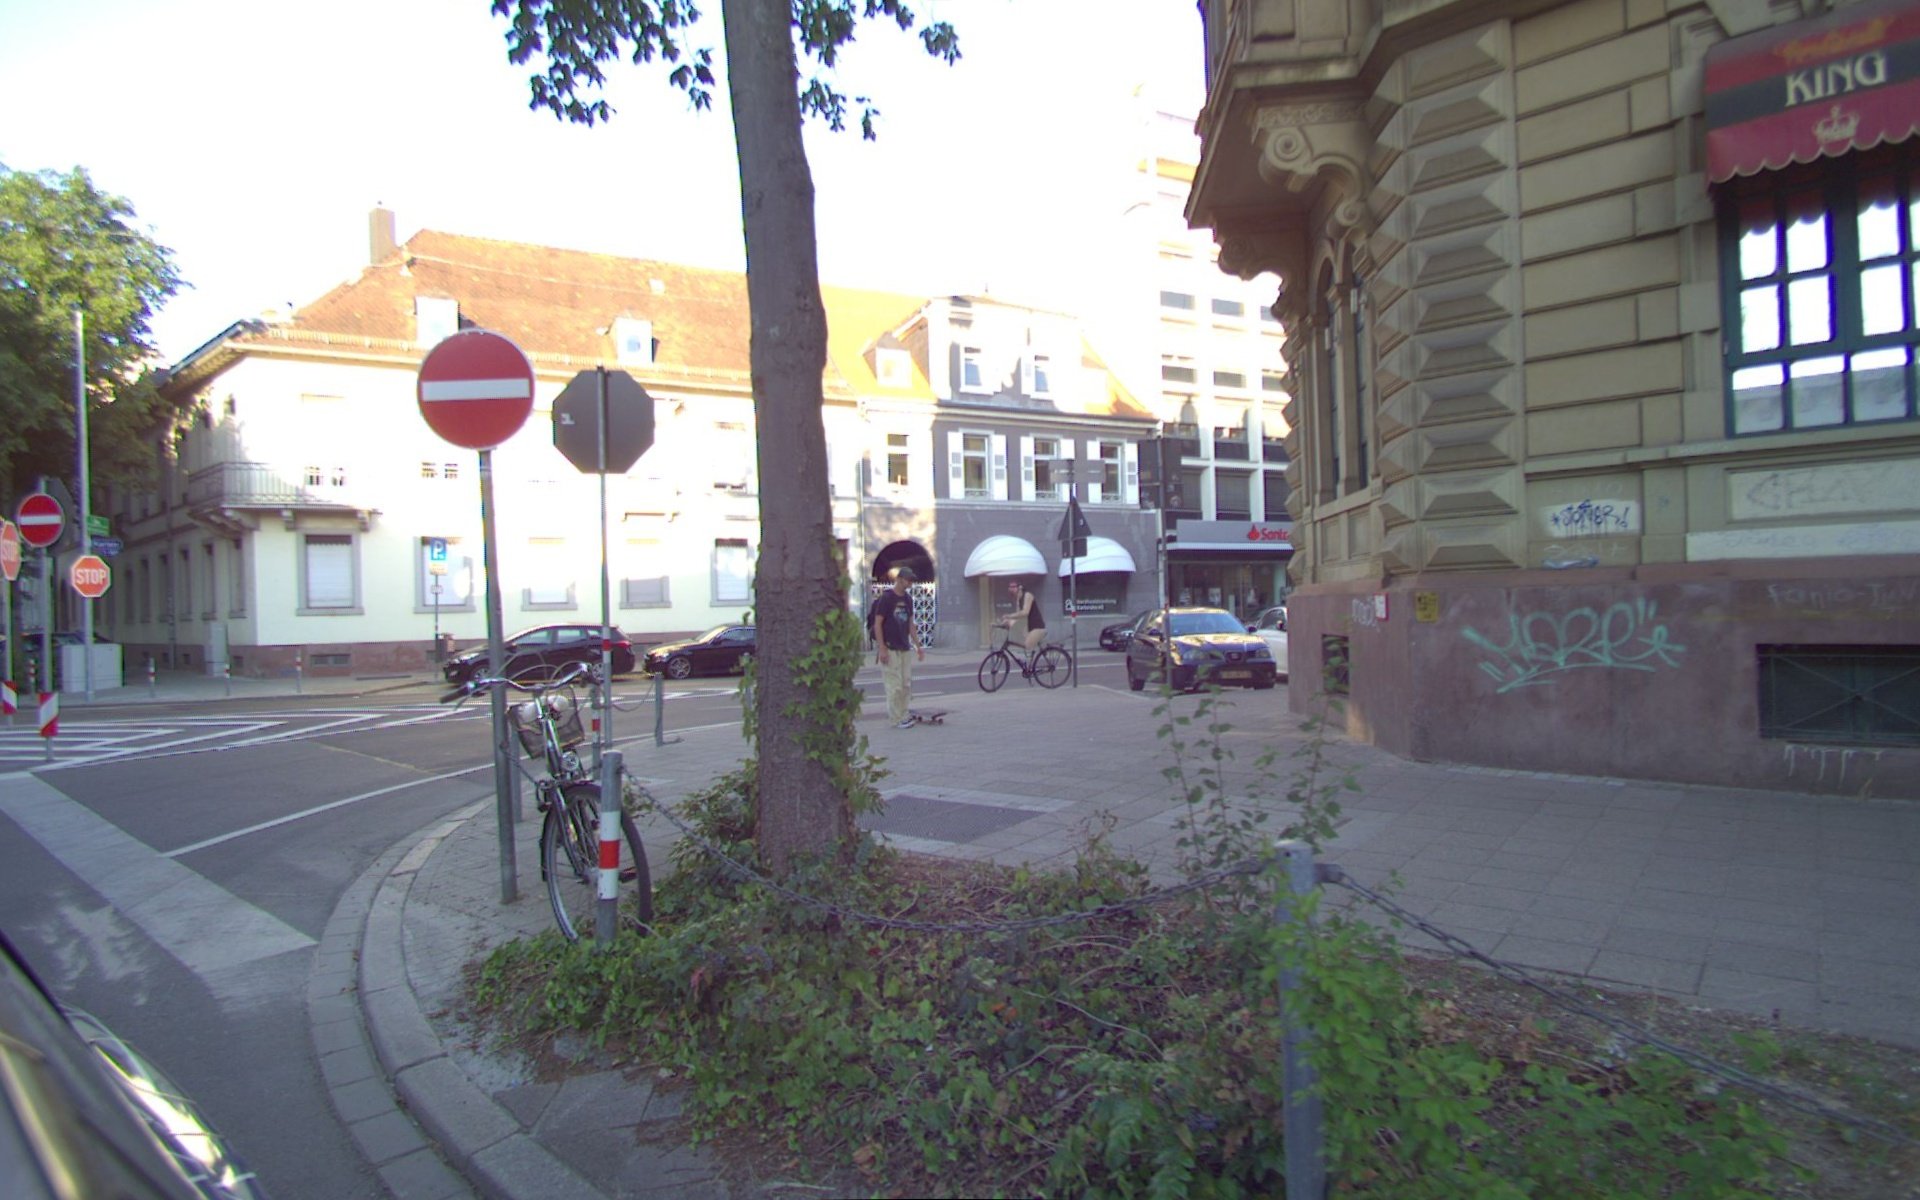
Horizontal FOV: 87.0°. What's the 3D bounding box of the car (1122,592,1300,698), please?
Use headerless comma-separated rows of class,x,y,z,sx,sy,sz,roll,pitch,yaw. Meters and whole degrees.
car,3.946,0.778,16.598,1.715,1.472,3.865,-2,-4,-3

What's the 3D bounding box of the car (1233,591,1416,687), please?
car,6.631,0.748,19.001,1.744,1.523,4.626,-2,-3,1

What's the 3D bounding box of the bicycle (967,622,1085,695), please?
bicycle,1.110,0.981,17.060,1.773,1.134,0.730,-2,-4,-18

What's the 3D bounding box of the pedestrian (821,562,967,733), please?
pedestrian,-0.718,0.519,11.052,1.260,1.752,0.843,-4,-2,27

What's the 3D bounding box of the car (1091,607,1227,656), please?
car,6.618,1.009,33.595,4.176,1.458,1.754,-1,-1,-27

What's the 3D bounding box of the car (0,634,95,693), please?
car,-28.480,1.905,30.098,1.721,1.627,3.948,-2,-1,39

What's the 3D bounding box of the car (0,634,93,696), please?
car,-26.911,1.843,28.190,1.721,1.627,3.948,-2,-1,39

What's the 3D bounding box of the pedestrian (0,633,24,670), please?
pedestrian,-47.118,2.570,50.221,1.020,1.784,0.883,-3,-2,40

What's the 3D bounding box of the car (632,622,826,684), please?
car,-6.179,1.386,27.184,4.773,1.405,1.784,-1,-2,-25

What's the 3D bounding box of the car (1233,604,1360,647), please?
car,12.237,0.922,36.724,4.423,1.398,1.753,-1,-1,-28

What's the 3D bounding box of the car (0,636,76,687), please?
car,-32.737,2.105,34.303,1.721,1.627,3.948,-2,-1,39

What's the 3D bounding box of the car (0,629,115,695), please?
car,-25.037,1.642,26.701,1.826,1.627,3.948,-2,-1,39

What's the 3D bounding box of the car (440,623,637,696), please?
car,-10.442,1.430,25.146,4.354,1.553,1.813,-1,-2,-26

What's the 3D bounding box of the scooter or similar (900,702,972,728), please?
scooter or similar,-0.277,1.277,11.257,0.411,0.208,0.884,-2,-2,-31

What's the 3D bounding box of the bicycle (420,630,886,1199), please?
bicycle,-1.274,0.764,3.552,0.832,1.277,2.579,0,-2,-34
